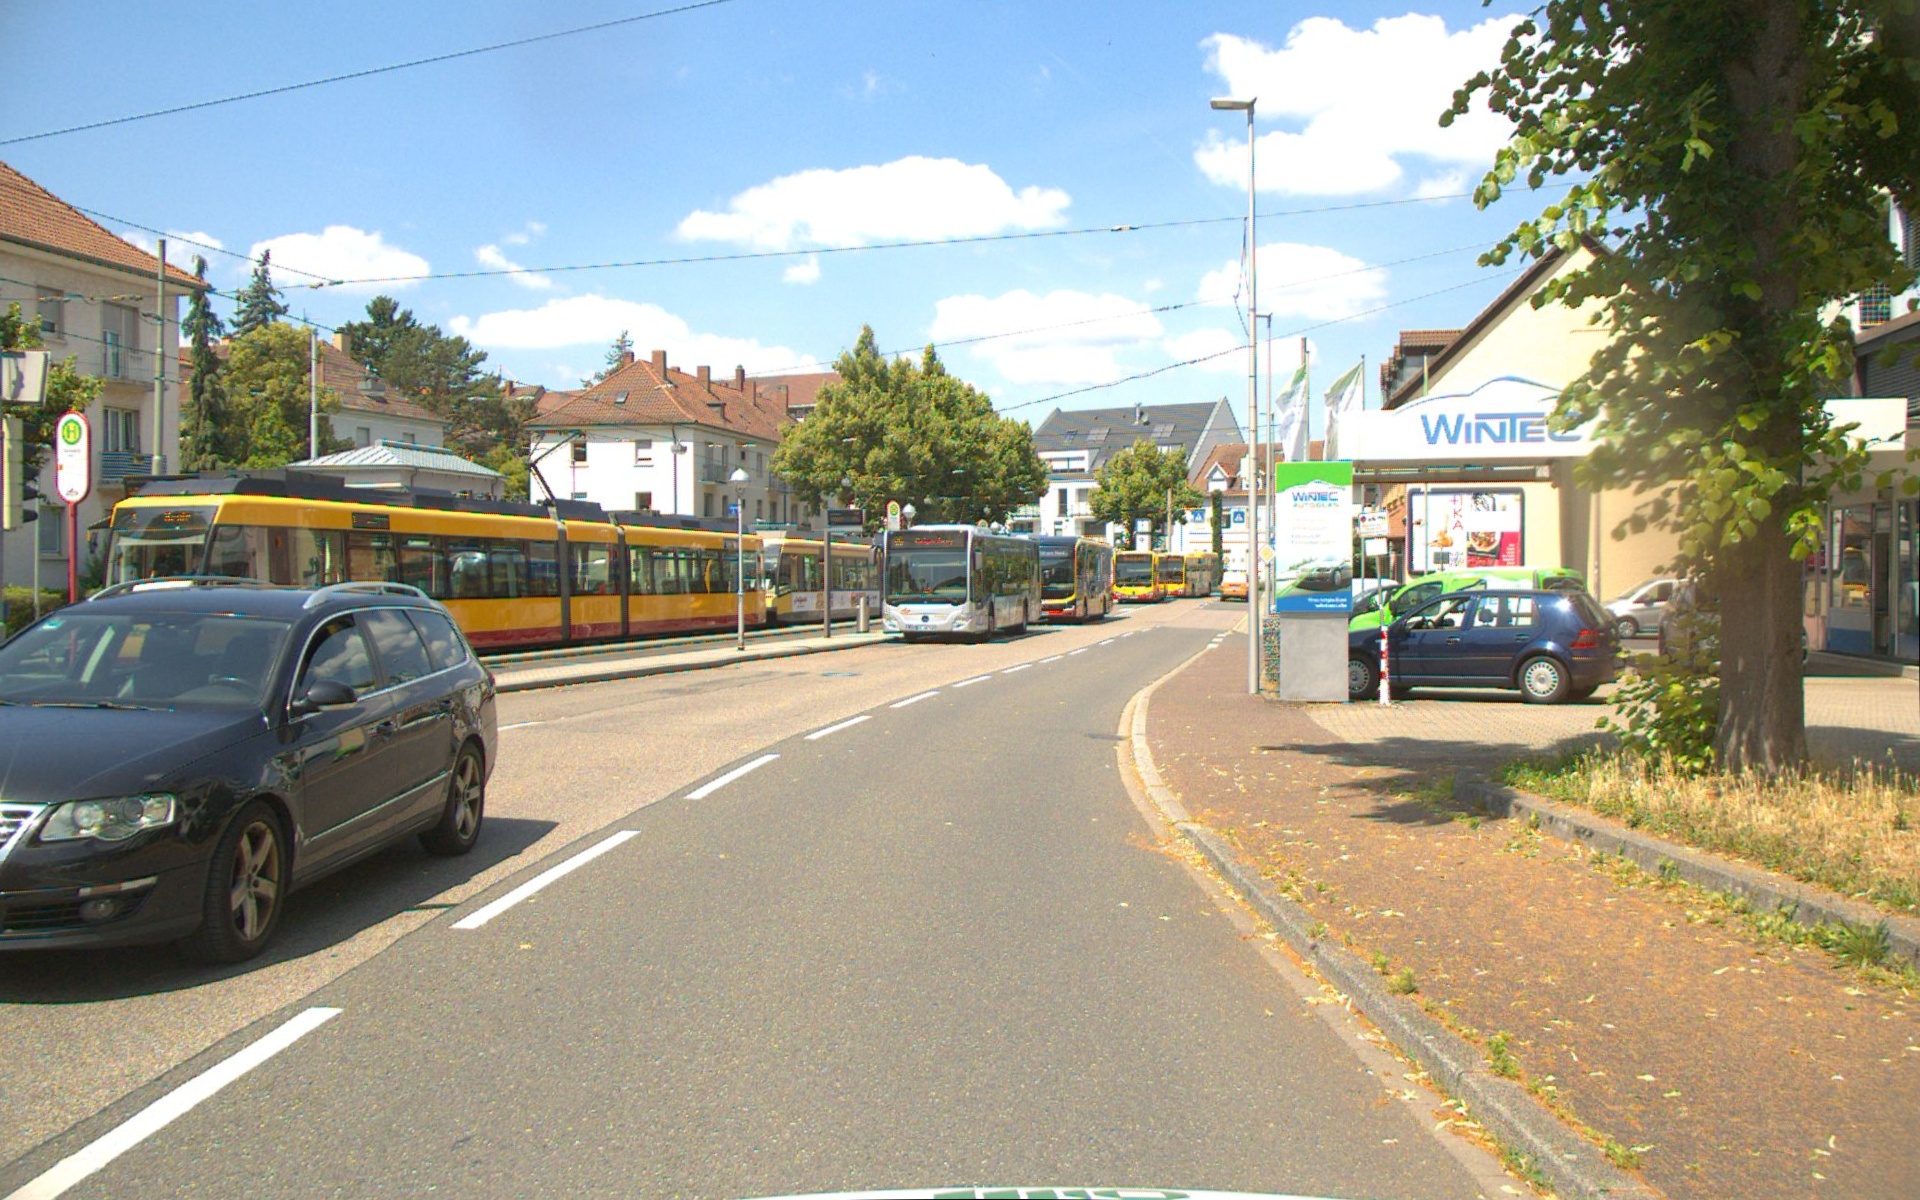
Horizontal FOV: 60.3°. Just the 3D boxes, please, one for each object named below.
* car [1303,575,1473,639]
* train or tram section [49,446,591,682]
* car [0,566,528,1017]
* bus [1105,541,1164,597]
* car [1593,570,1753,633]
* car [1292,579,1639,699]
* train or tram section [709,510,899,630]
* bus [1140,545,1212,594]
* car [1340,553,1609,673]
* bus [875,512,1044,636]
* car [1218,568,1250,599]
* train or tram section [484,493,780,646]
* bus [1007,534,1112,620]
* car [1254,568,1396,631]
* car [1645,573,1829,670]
[{"bbox_3d":[10.889,0.171,42.234,3.849,1.545,1.822,-1,0,-1],"label":"car"},{"bbox_3d":[-11.541,-0.640,32.670,2.749,3.630,14.194,0,1,12],"label":"train or tram section"},{"bbox_3d":[-3.685,0.630,7.941,1.952,1.545,4.513,0,1,1],"label":"car"},{"bbox_3d":[10.950,-1.894,102.823,2.672,3.275,11.059,0,1,11],"label":"bus"},{"bbox_3d":[22.343,0.021,51.974,4.212,1.840,2.002,1,2,7],"label":"car"},{"bbox_3d":[6.740,0.478,22.158,4.086,1.464,1.896,0,0,34],"label":"car"},{"bbox_3d":[-5.480,-1.095,62.555,2.725,3.963,15.566,0,1,12],"label":"train or tram section"},{"bbox_3d":[15.255,-2.115,116.227,2.580,3.275,9.939,0,1,22],"label":"bus"},{"bbox_3d":[8.446,0.190,27.436,1.822,1.825,3.972,-1,0,-37],"label":"car"},{"bbox_3d":[0.268,-0.735,48.605,2.672,3.183,12.019,0,1,11],"label":"bus"},{"bbox_3d":[17.887,-1.093,108.018,1.769,2.015,4.003,0,1,14],"label":"car"},{"bbox_3d":[-8.658,-0.815,46.816,2.725,3.630,14.719,0,1,12],"label":"train or tram section"},{"bbox_3d":[4.249,-0.918,67.595,2.672,3.183,12.019,0,1,11],"label":"bus"},{"bbox_3d":[11.513,-0.044,52.430,4.212,1.840,2.002,1,2,8],"label":"car"},{"bbox_3d":[14.070,0.347,30.219,1.965,1.624,4.293,0,0,10],"label":"car"}]
